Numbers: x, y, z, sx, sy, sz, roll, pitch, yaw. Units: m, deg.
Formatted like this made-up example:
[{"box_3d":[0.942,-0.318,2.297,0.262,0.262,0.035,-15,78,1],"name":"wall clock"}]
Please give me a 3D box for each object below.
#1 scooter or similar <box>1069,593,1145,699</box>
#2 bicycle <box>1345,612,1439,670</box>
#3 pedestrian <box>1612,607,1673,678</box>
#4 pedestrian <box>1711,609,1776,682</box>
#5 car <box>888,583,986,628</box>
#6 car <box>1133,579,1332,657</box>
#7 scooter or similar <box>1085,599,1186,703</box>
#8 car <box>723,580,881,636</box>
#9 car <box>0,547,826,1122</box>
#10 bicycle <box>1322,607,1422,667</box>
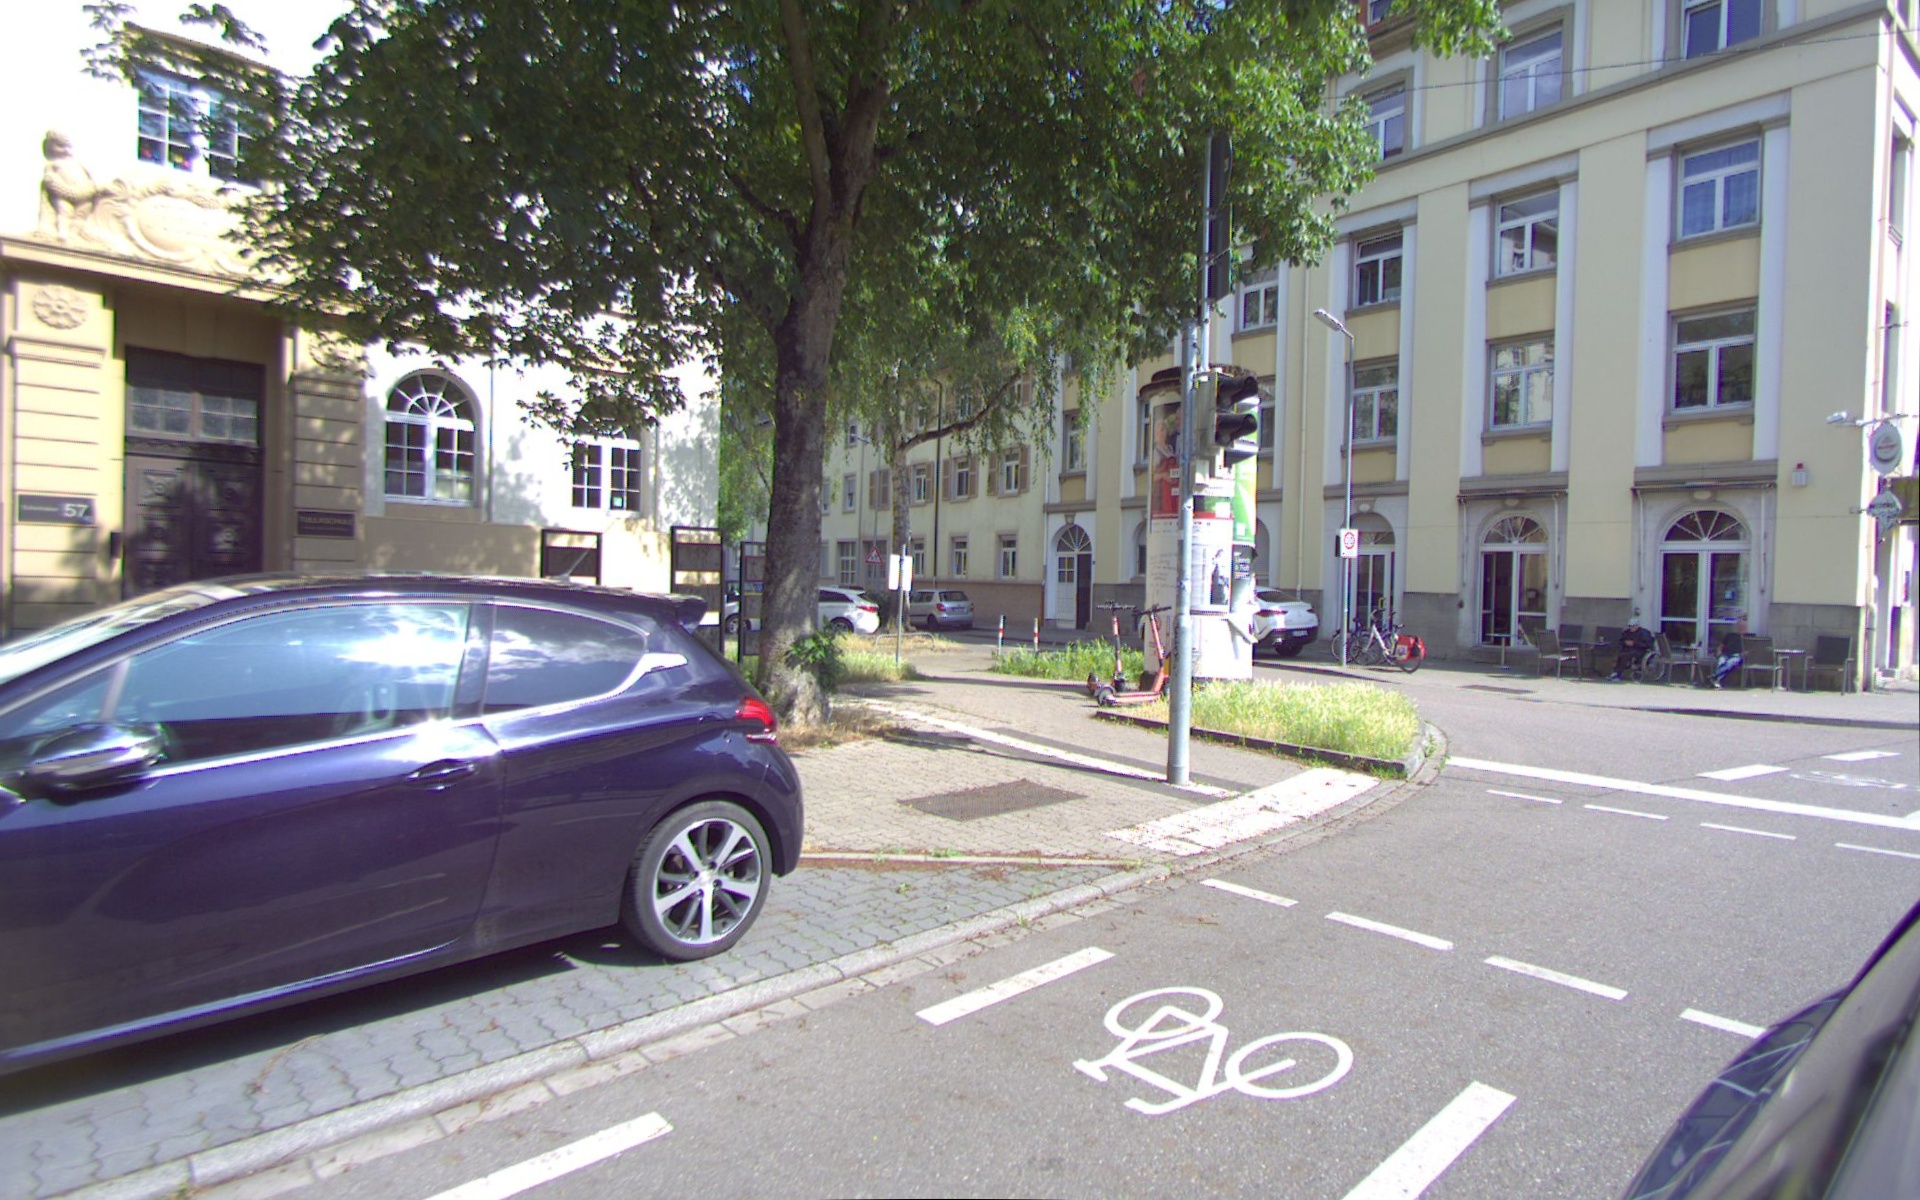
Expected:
[{"box_3d":[1.846,0.560,12.802,0.437,1.257,1.110,1,1,-21],"name":"scooter or similar"},{"box_3d":[9.103,0.843,21.401,0.603,1.058,1.950,0,2,-21],"name":"bicycle"},{"box_3d":[13.407,0.812,19.889,0.746,1.304,0.804,-2,3,-40],"name":"pedestrian"},{"box_3d":[14.757,0.836,19.066,0.876,1.260,0.804,-2,3,-41],"name":"pedestrian"},{"box_3d":[-0.909,0.168,37.241,1.821,1.442,4.004,-3,3,-31],"name":"car"},{"box_3d":[6.617,0.361,25.132,1.821,1.676,4.839,-1,2,-32],"name":"car"},{"box_3d":[2.081,0.601,12.017,1.102,1.193,0.415,1,-1,-15],"name":"scooter or similar"},{"box_3d":[-4.260,0.201,27.554,4.094,1.369,1.860,1,1,-7],"name":"car"},{"box_3d":[-2.545,0.548,3.493,3.858,1.404,1.688,-1,3,-43],"name":"car"},{"box_3d":[9.064,0.786,22.327,1.940,1.154,0.606,3,3,45],"name":"bicycle"}]
